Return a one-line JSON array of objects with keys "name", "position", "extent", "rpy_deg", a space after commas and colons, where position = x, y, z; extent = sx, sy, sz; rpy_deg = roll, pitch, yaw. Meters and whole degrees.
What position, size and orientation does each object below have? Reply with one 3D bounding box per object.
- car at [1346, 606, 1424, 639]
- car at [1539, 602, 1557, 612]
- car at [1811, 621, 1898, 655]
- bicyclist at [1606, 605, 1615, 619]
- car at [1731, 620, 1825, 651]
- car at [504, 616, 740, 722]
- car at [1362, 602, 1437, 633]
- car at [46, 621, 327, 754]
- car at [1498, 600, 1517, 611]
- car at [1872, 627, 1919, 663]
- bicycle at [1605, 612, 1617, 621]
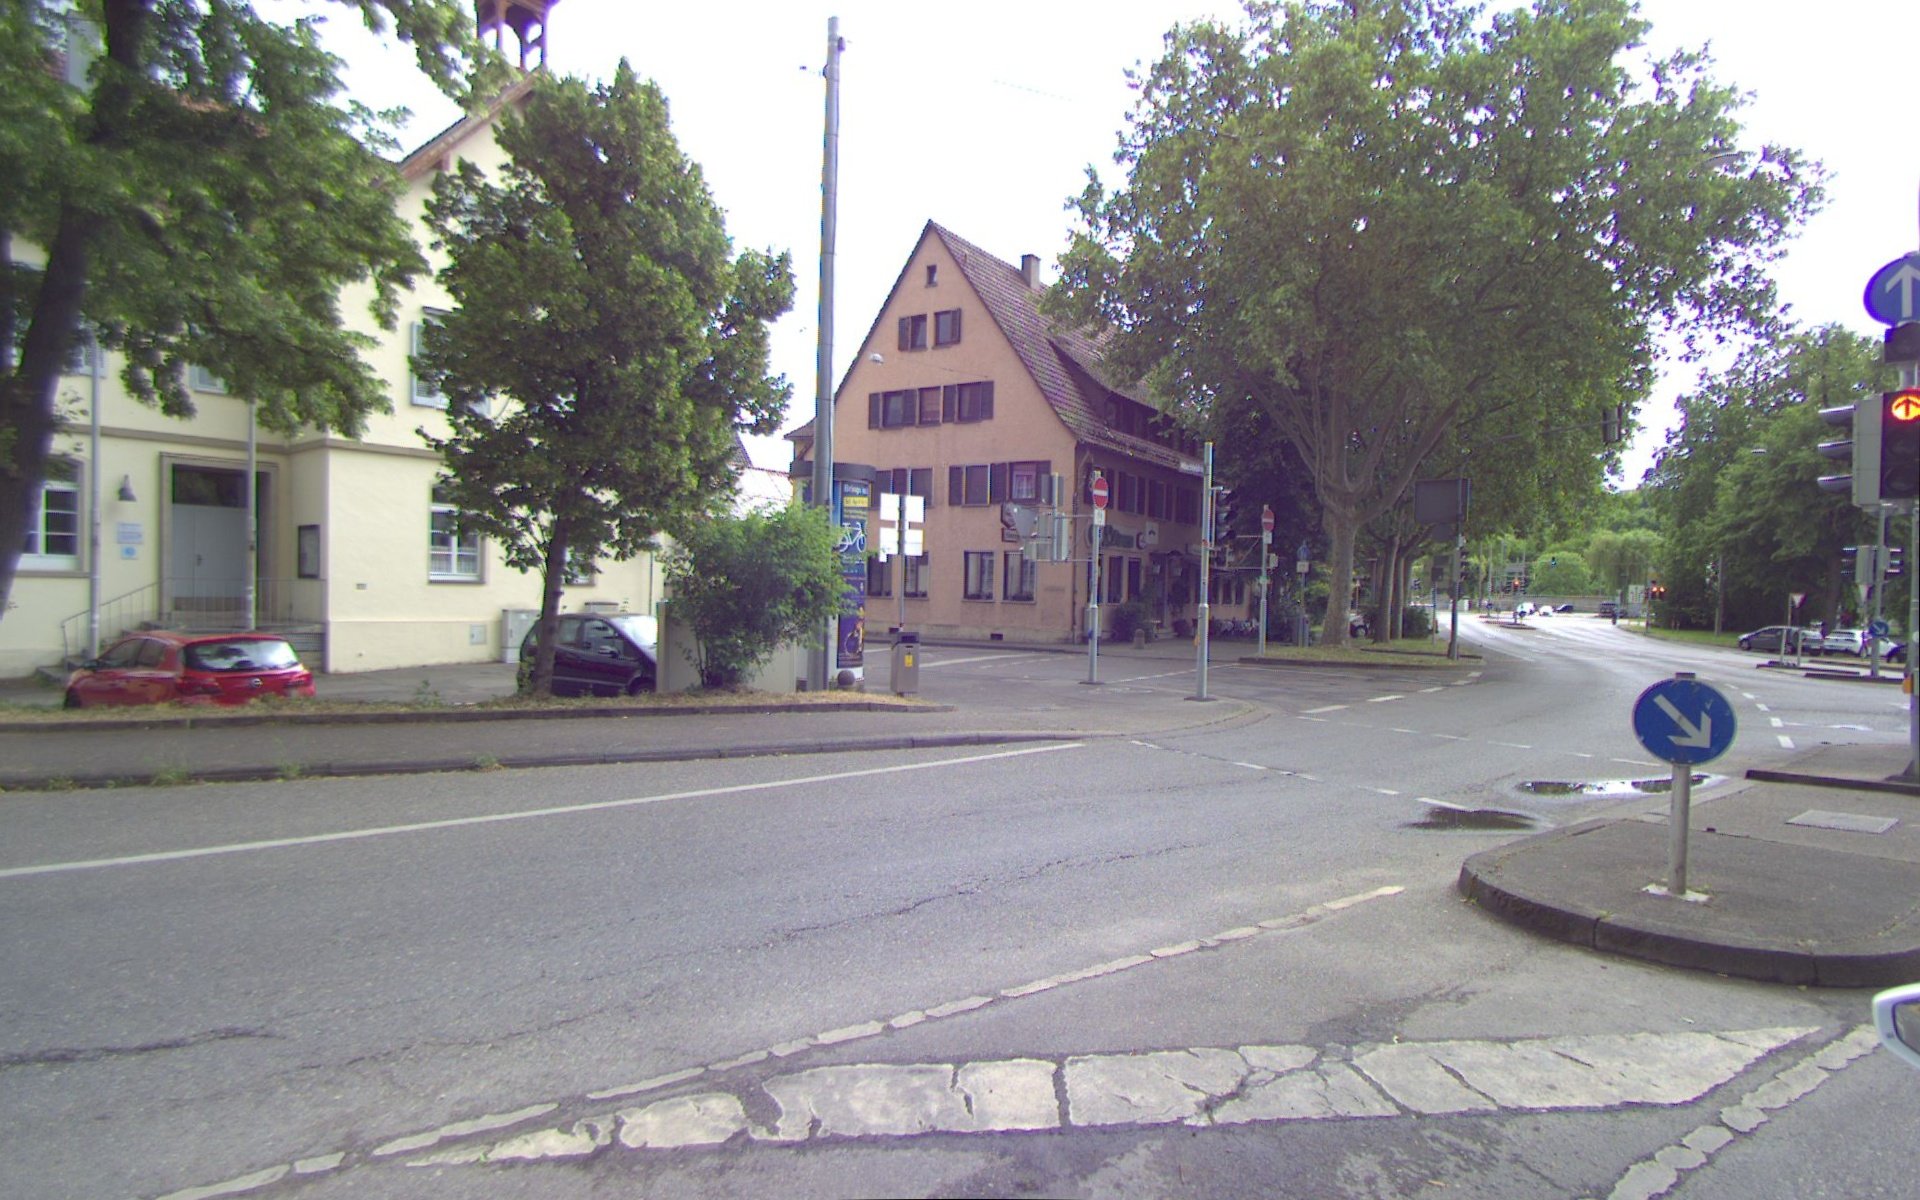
[{"name": "car", "position": [23.999, 1.248, 56.712], "extent": [3.924, 1.706, 1.998], "rpy_deg": [1, 0, 25]}, {"name": "car", "position": [90.932, 1.044, 155.436], "extent": [1.469, 1.436, 3.028], "rpy_deg": [3, 0, 12]}, {"name": "car", "position": [47.464, 2.034, 53.329], "extent": [3.696, 1.662, 1.859], "rpy_deg": [2, 0, -19]}, {"name": "bicyclist", "position": [65.813, 1.191, 101.613], "extent": [0.709, 1.359, 0.534], "rpy_deg": [1, 0, -45]}, {"name": "car", "position": [43.820, 1.873, 53.911], "extent": [1.592, 1.485, 3.778], "rpy_deg": [2, 0, -11]}, {"name": "car", "position": [-5.532, 1.055, 16.448], "extent": [3.507, 1.459, 1.644], "rpy_deg": [2, 0, 26]}, {"name": "car", "position": [25.731, 1.004, 58.788], "extent": [3.924, 1.706, 1.998], "rpy_deg": [1, 0, 25]}, {"name": "car", "position": [-10.277, 1.051, 13.310], "extent": [3.653, 1.401, 1.659], "rpy_deg": [2, 0, 30]}, {"name": "car", "position": [85.249, 0.856, 156.443], "extent": [1.553, 1.506, 3.337], "rpy_deg": [3, 0, 12]}, {"name": "car", "position": [39.447, 1.857, 40.768], "extent": [1.746, 1.370, 3.326], "rpy_deg": [2, 0, -2]}, {"name": "bicycle", "position": [65.900, 1.673, 101.712], "extent": [2.020, 0.971, 0.550], "rpy_deg": [2, 0, -45]}]
